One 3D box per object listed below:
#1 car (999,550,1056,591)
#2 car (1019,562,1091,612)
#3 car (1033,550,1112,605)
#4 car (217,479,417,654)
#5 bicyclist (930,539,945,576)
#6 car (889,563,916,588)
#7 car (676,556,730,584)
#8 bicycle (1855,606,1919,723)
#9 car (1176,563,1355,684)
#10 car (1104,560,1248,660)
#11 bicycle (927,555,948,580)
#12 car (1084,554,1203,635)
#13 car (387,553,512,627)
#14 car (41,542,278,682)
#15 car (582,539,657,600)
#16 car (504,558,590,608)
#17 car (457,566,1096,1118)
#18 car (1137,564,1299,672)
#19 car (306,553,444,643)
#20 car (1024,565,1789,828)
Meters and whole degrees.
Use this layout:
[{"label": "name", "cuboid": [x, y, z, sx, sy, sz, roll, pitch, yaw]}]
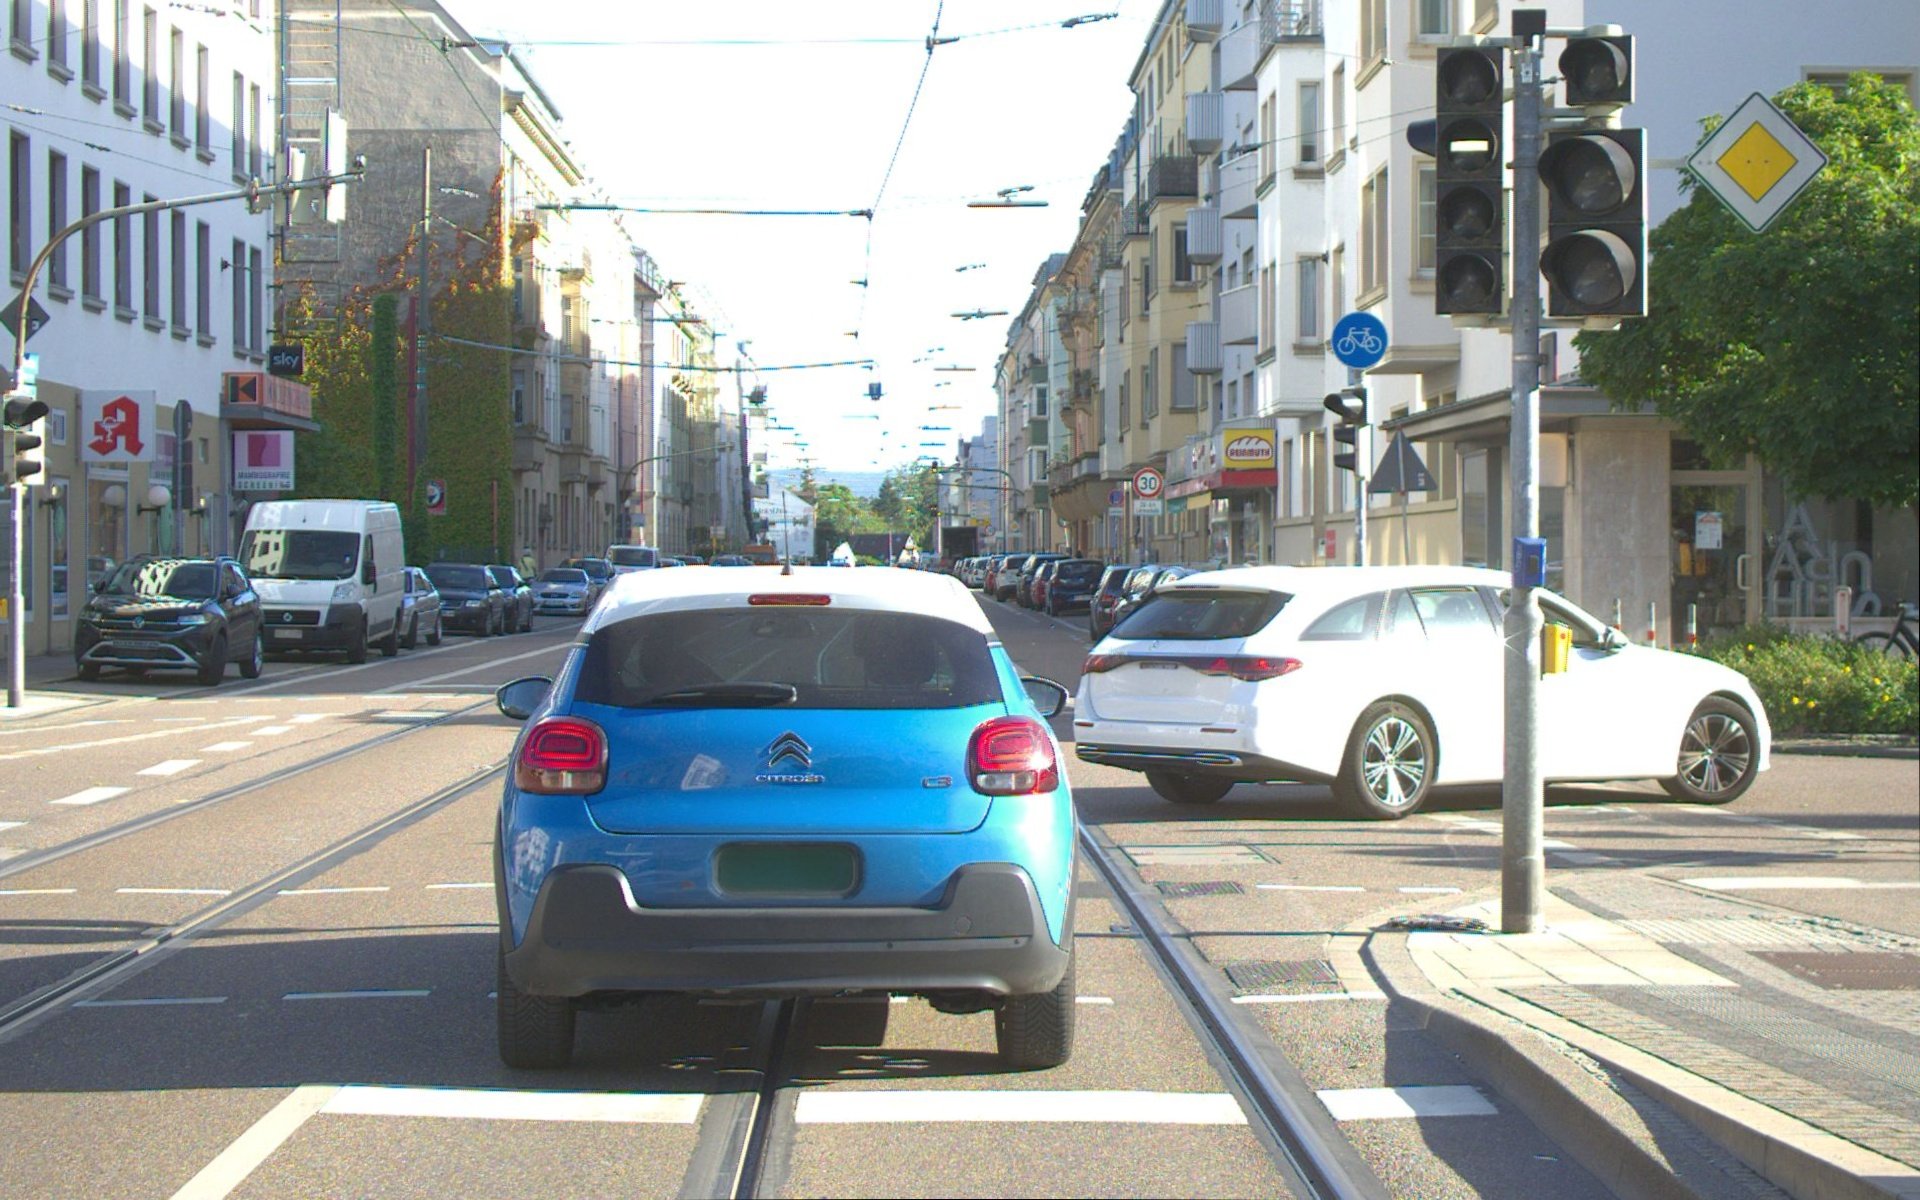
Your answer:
[{"label": "car", "cuboid": [2.408, -1.069, 124.012, 1.993, 1.459, 4.000, 0, 1, 0]}, {"label": "car", "cuboid": [2.770, -0.393, 100.724, 1.993, 1.459, 4.000, 0, 1, 0]}, {"label": "car", "cuboid": [3.032, -0.624, 93.061, 1.993, 1.459, 4.504, 0, 1, 0]}, {"label": "car", "cuboid": [-9.939, -0.526, 53.654, 2.085, 2.533, 6.206, 1, 1, -2]}, {"label": "bicyclist", "cuboid": [-1.267, -2.384, 192.964, 0.809, 2.007, 0.922, 1, 0, 0]}, {"label": "car", "cuboid": [-4.225, -1.812, 252.109, 1.993, 1.766, 4.000, 0, 1, -1]}, {"label": "car", "cuboid": [-10.827, -1.265, 145.089, 1.993, 1.152, 4.000, 0, 1, 0]}, {"label": "bicycle", "cuboid": [9.547, 0.635, 33.488, 1.568, 1.117, 0.300, 1, 0, 11]}, {"label": "car", "cuboid": [3.811, 0.267, 43.432, 1.909, 1.459, 4.000, 0, 1, 0]}, {"label": "car", "cuboid": [3.321, 0.126, 53.562, 1.993, 1.496, 4.000, 0, 1, 0]}, {"label": "bicycle", "cuboid": [-1.284, -1.809, 192.930, 0.919, 1.384, 3.132, 0, 1, -5]}, {"label": "car", "cuboid": [3.365, -0.125, 63.672, 1.993, 1.459, 4.000, 0, 1, 0]}, {"label": "car", "cuboid": [-10.233, -0.202, 69.157, 1.993, 1.393, 4.157, 1, 0, -2]}, {"label": "car", "cuboid": [-10.001, 0.137, 43.299, 1.993, 1.563, 4.403, 3, 0, -2]}, {"label": "car", "cuboid": [-11.629, -1.043, 117.672, 2.006, 2.007, 4.689, 1, 0, 1]}, {"label": "car", "cuboid": [-11.302, -0.469, 94.313, 1.993, 1.320, 3.923, 1, 0, -2]}, {"label": "car", "cuboid": [-0.529, 0.646, 11.341, 1.728, 1.477, 3.827, 1, 1, -1]}, {"label": "car", "cuboid": [3.598, 0.225, 48.645, 1.993, 1.459, 4.000, 0, 1, 0]}, {"label": "car", "cuboid": [-10.228, -0.039, 60.332, 1.888, 1.491, 3.562, 1, 0, -2]}, {"label": "car", "cuboid": [2.865, 0.550, 21.367, 4.801, 1.459, 1.990, 0, 0, -40]}]
